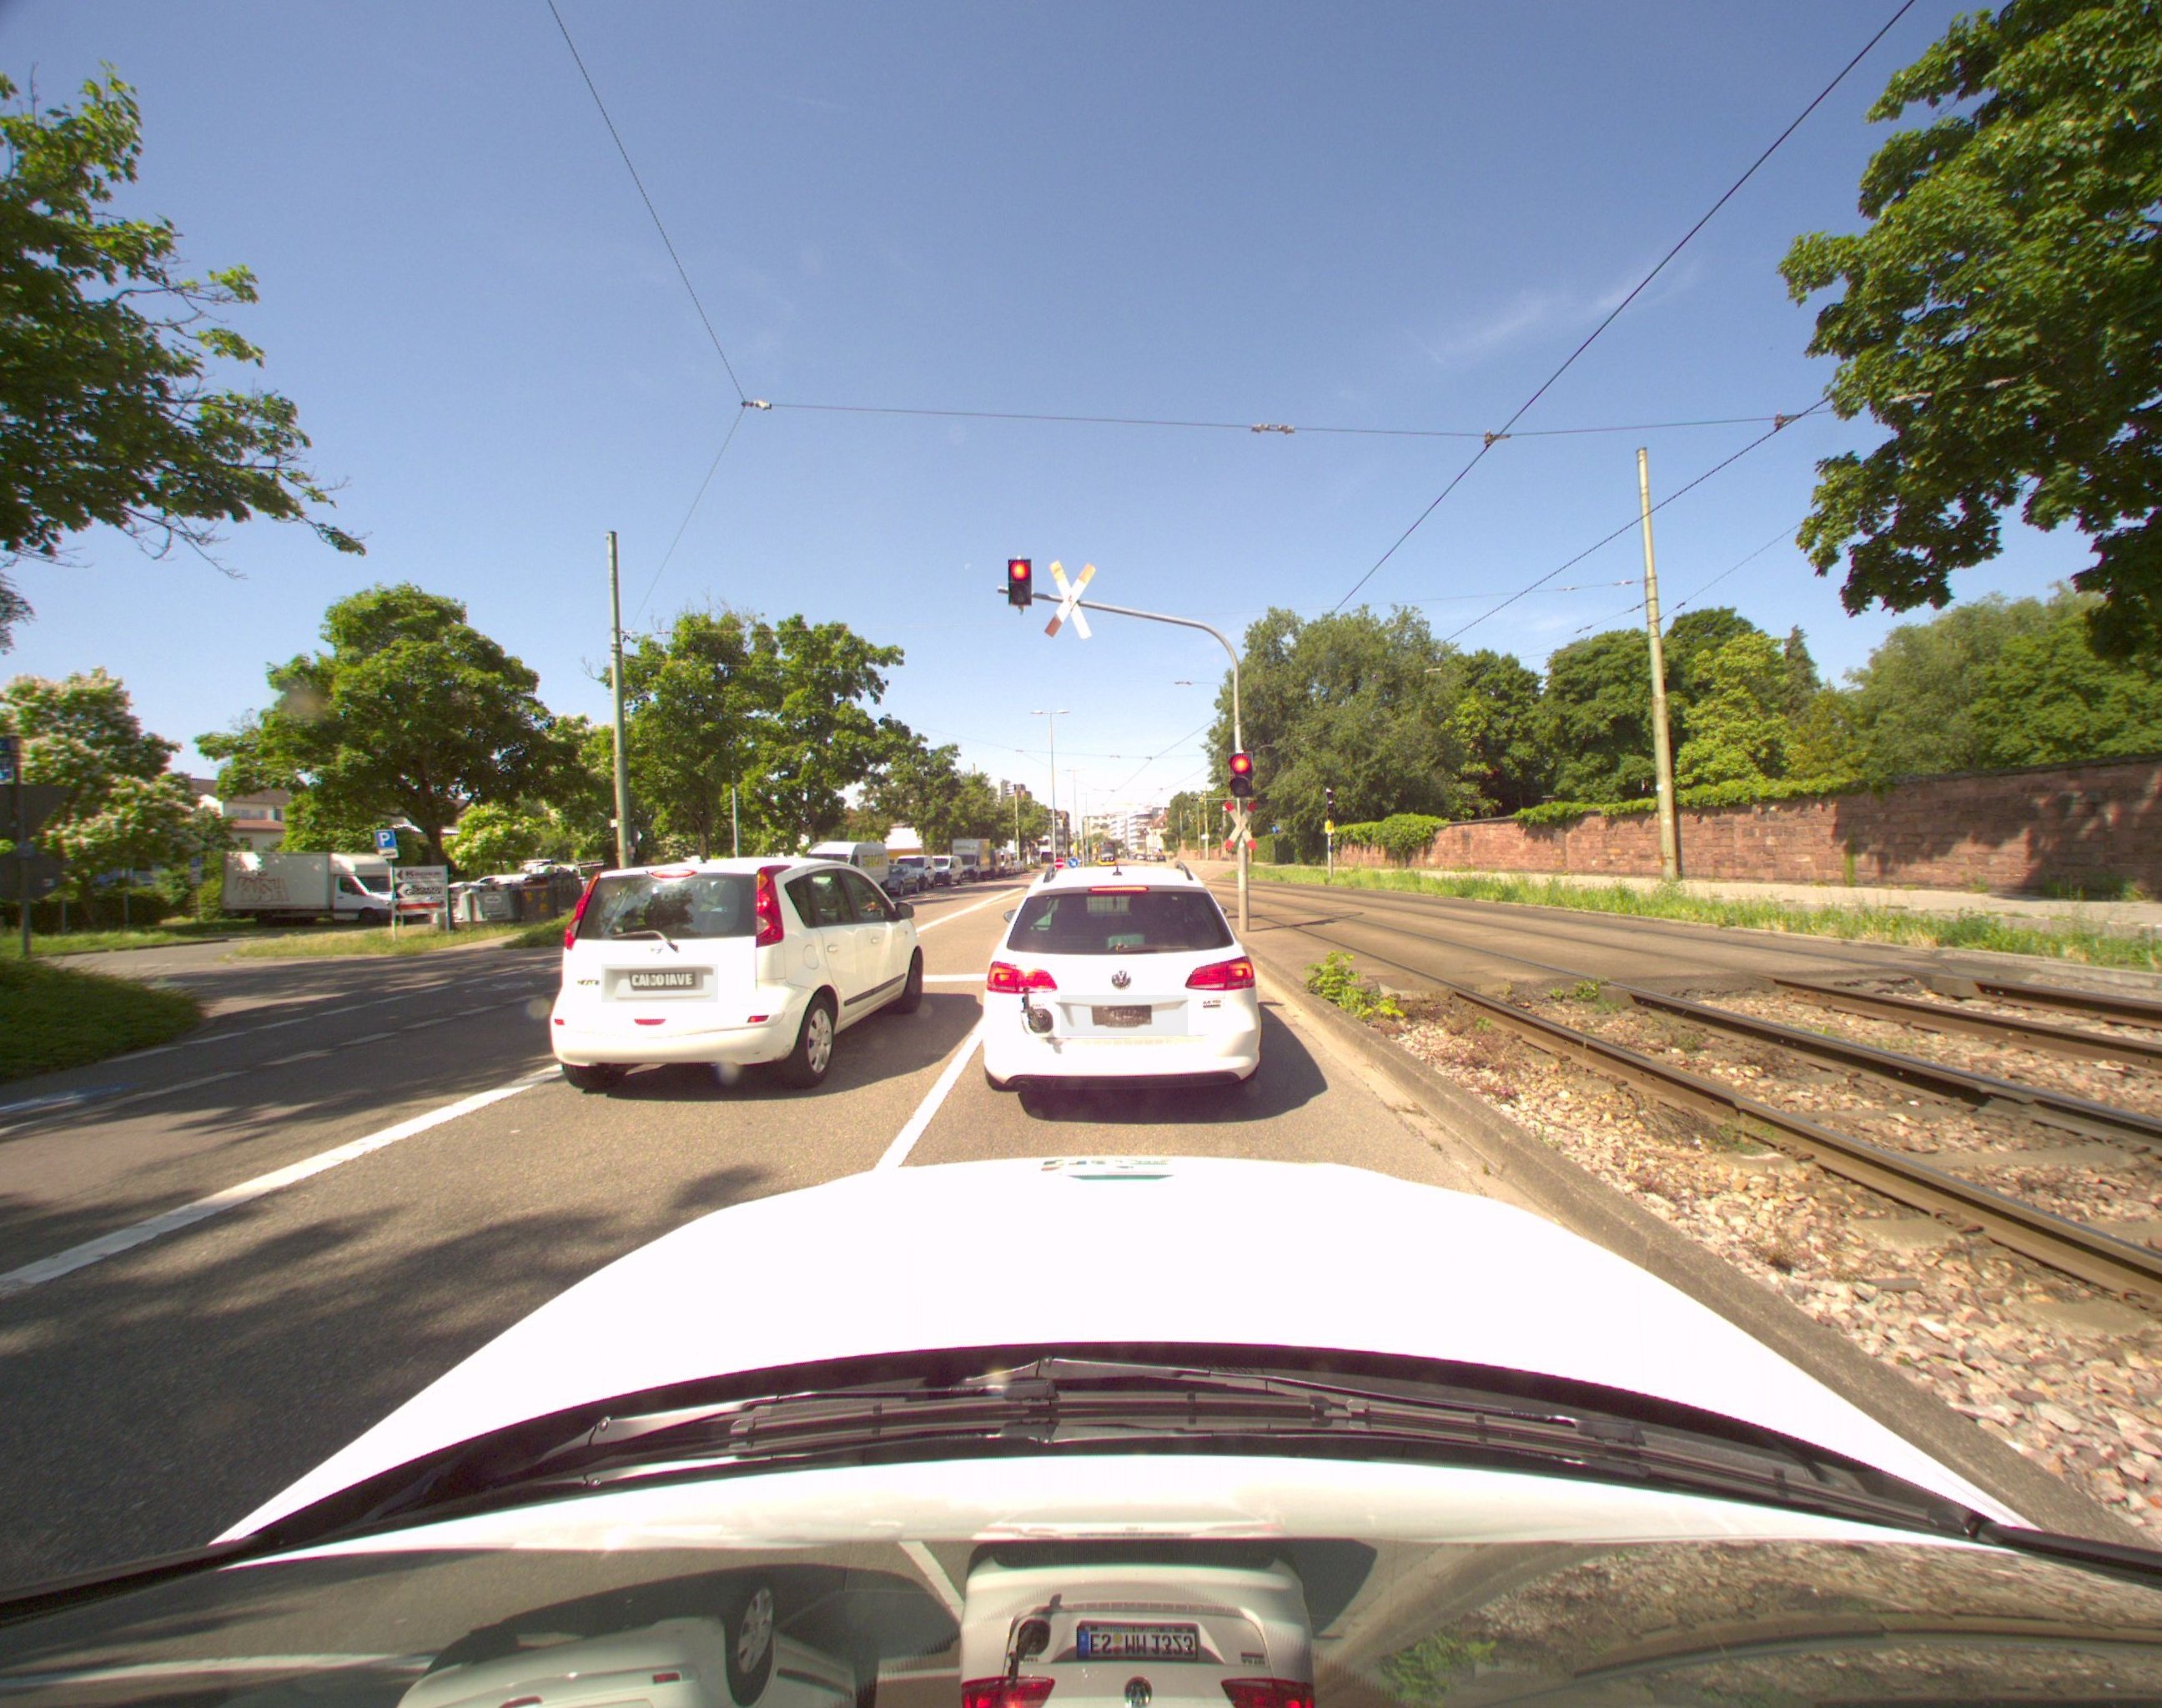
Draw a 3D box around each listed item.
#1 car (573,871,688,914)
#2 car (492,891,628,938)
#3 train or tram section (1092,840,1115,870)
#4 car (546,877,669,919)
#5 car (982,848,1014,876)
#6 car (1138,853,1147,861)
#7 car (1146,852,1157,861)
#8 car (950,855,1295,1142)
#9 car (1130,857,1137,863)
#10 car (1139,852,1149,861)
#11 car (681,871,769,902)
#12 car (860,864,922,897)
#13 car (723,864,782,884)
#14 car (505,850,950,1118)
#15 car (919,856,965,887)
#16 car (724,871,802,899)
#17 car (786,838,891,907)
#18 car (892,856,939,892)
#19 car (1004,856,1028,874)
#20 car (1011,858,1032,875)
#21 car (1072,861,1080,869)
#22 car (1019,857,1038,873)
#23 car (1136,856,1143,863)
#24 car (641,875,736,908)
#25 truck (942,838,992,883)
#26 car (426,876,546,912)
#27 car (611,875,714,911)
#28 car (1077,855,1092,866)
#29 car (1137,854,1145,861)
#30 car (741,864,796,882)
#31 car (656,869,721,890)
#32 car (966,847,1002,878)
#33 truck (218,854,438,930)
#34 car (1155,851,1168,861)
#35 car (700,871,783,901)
[{"bbox_3d":[-19.882,1.675,36.067,3.977,1.610,1.729,-4,-1,-3],"label":"car"},{"bbox_3d":[-19.867,2.278,31.166,3.977,1.415,1.729,-4,-1,-3],"label":"car"},{"bbox_3d":[3.144,0.100,112.690,2.860,3.855,12.396,-3,0,2],"label":"train or tram section"},{"bbox_3d":[-19.634,1.814,33.860,3.977,1.415,1.729,-4,-1,-3],"label":"car"},{"bbox_3d":[-7.715,0.759,76.114,2.114,2.516,5.737,0,0,3],"label":"car"},{"bbox_3d":[14.895,0.734,196.723,1.857,1.868,5.063,0,0,1],"label":"car"},{"bbox_3d":[14.245,0.510,164.321,1.857,1.868,5.063,0,0,1],"label":"car"},{"bbox_3d":[0.282,0.765,6.294,1.756,1.430,4.002,-3,0,2],"label":"car"},{"bbox_3d":[16.458,1.838,254.417,1.857,1.868,5.063,0,0,1],"label":"car"},{"bbox_3d":[13.946,0.603,180.540,1.857,1.868,5.063,0,0,1],"label":"car"},{"bbox_3d":[-19.499,1.776,44.730,3.977,1.415,1.729,-4,-1,-3],"label":"car"},{"bbox_3d":[-9.043,1.237,39.058,1.856,1.415,4.281,0,0,1],"label":"car"},{"bbox_3d":[-31.412,1.895,77.870,4.780,1.787,2.062,0,-1,-3],"label":"car"},{"bbox_3d":[-2.450,0.766,7.055,1.655,1.547,4.550,-1,0,3],"label":"car"},{"bbox_3d":[-8.827,1.074,52.263,1.856,1.868,5.415,0,0,2],"label":"car"},{"bbox_3d":[-19.420,1.879,49.880,3.977,1.415,1.729,-4,-1,-3],"label":"car"},{"bbox_3d":[-9.548,0.664,32.669,2.114,2.516,5.822,0,0,3],"label":"car"},{"bbox_3d":[-9.209,1.049,45.678,1.859,1.868,5.068,0,0,-3],"label":"car"},{"bbox_3d":[-6.764,1.104,85.203,1.856,1.868,5.415,0,0,2],"label":"car"},{"bbox_3d":[-6.709,1.405,92.020,1.856,1.868,5.415,0,0,2],"label":"car"},{"bbox_3d":[-1.282,2.716,196.590,1.756,1.896,4.916,0,-1,2],"label":"car"},{"bbox_3d":[-6.324,1.331,98.933,1.856,1.868,5.415,0,0,2],"label":"car"},{"bbox_3d":[17.201,1.662,239.727,1.857,1.868,5.063,0,0,1],"label":"car"},{"bbox_3d":[-20.276,1.922,42.213,3.977,1.415,1.729,-4,-1,-3],"label":"car"},{"bbox_3d":[-8.383,0.441,60.686,2.411,3.150,7.001,0,0,3],"label":"truck"},{"bbox_3d":[-31.730,2.098,43.544,4.780,1.787,2.062,0,-1,-3],"label":"car"},{"bbox_3d":[-20.256,1.854,39.531,3.977,1.415,1.729,-4,-1,-3],"label":"car"},{"bbox_3d":[0.491,0.879,112.358,1.698,1.473,4.593,-3,0,3],"label":"car"},{"bbox_3d":[16.032,0.918,219.207,1.857,1.868,5.063,0,0,1],"label":"car"},{"bbox_3d":[-31.714,1.942,82.784,4.780,1.787,2.062,0,-1,-3],"label":"car"},{"bbox_3d":[-35.143,2.268,72.981,4.780,1.787,2.062,0,-1,-3],"label":"car"},{"bbox_3d":[-8.095,0.693,68.682,2.114,2.516,5.737,0,0,3],"label":"car"},{"bbox_3d":[-32.390,1.564,35.213,6.978,3.110,2.677,0,0,0],"label":"truck"},{"bbox_3d":[14.669,0.365,148.817,1.857,1.868,5.063,0,0,1],"label":"car"},{"bbox_3d":[-19.568,1.823,47.064,3.977,1.415,1.729,-4,-1,-3],"label":"car"}]
